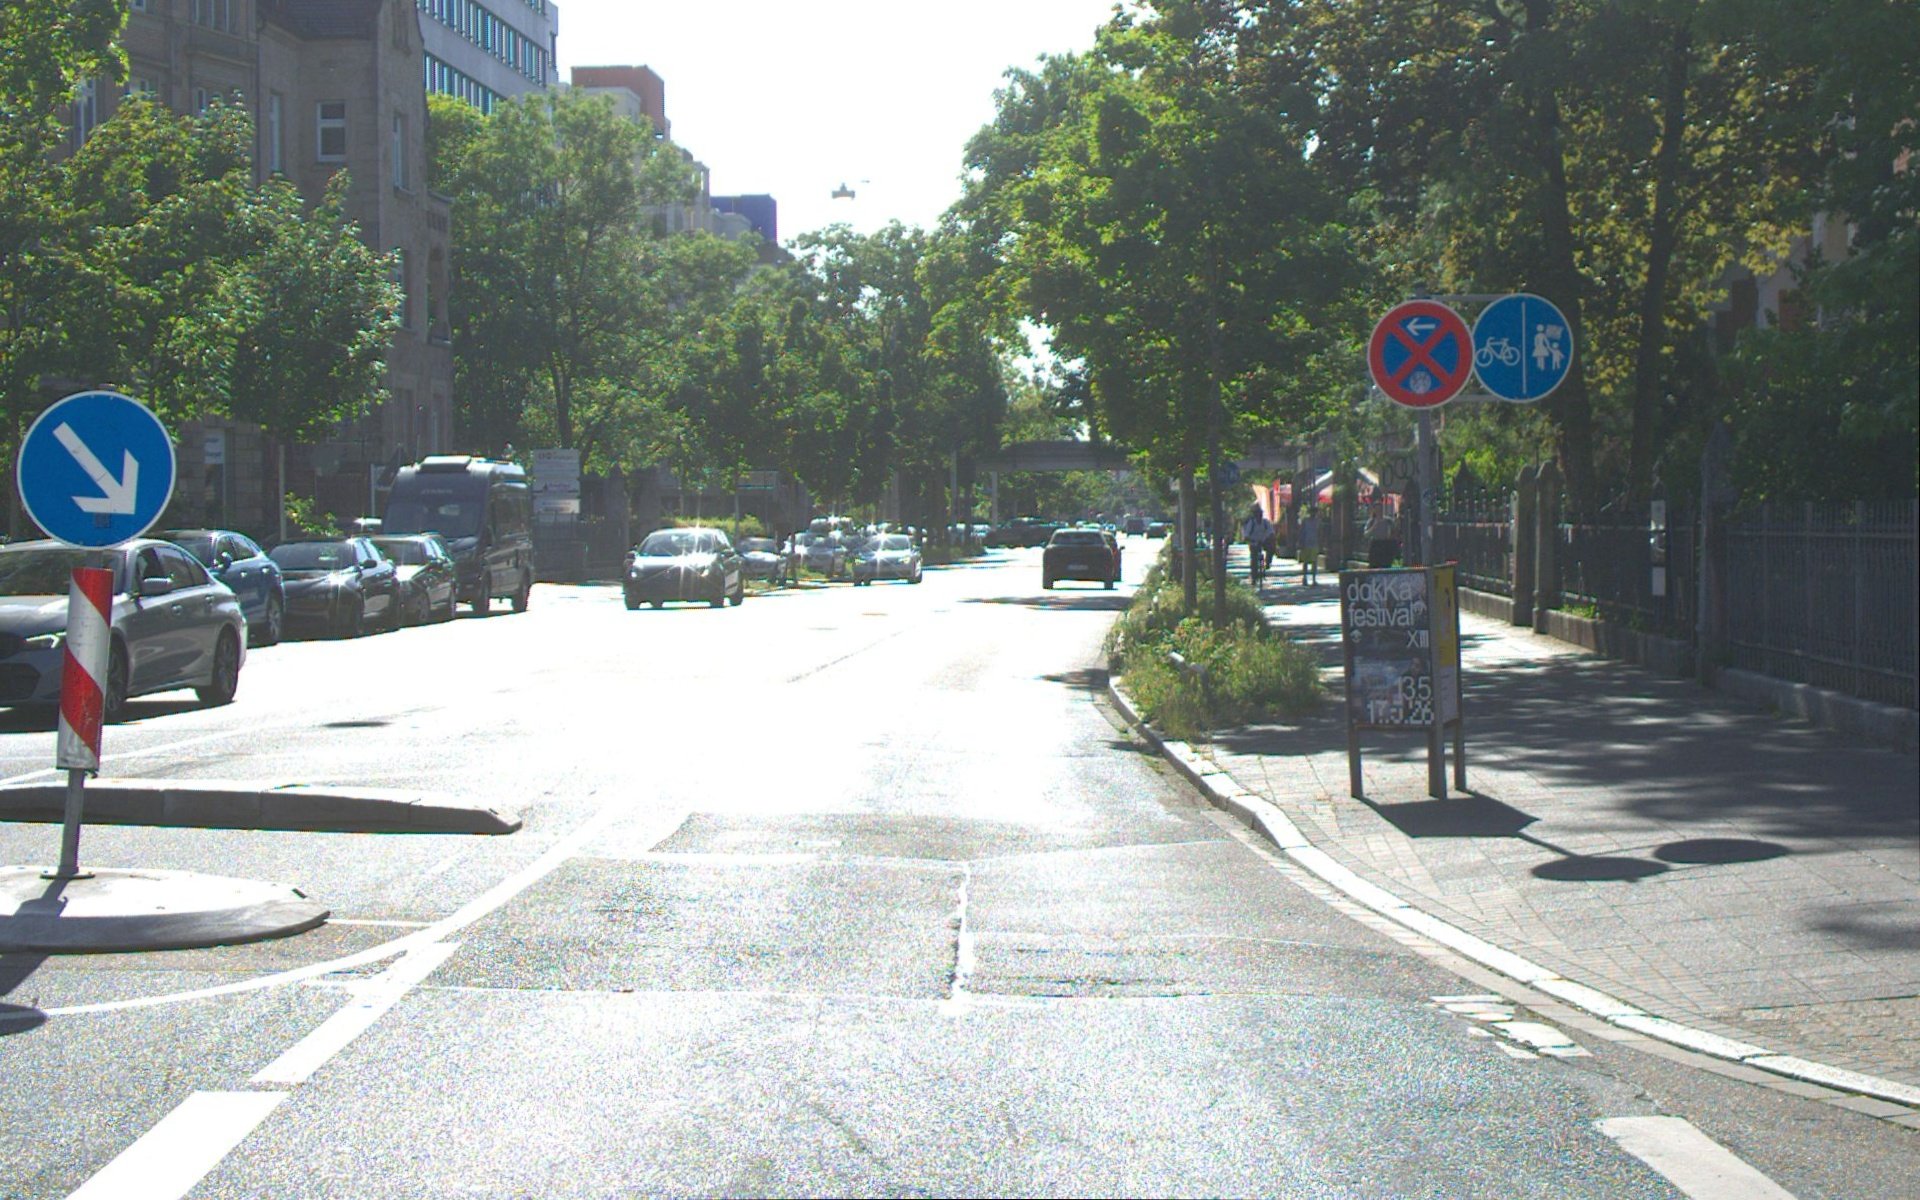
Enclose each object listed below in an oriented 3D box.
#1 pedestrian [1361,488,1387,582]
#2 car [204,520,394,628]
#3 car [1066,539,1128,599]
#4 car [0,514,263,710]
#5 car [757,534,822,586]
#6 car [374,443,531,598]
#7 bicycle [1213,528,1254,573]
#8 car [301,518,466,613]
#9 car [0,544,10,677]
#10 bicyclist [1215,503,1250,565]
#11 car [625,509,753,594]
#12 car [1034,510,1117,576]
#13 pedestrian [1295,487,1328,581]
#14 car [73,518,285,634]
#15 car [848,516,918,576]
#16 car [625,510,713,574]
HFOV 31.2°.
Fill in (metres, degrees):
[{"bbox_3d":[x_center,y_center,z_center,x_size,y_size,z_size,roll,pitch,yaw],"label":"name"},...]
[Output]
[{"bbox_3d":[8.976,-1.412,74.587,0.476,2.007,0.492,1,-2,-1],"label":"pedestrian"},{"bbox_3d":[-9.507,-0.346,49.751,1.827,1.415,3.999,1,-1,2],"label":"car"},{"bbox_3d":[4.122,-0.956,103.216,1.819,1.734,4.000,0,2,3],"label":"car"},{"bbox_3d":[-7.218,0.063,27.970,1.784,1.455,4.414,1,1,6],"label":"car"},{"bbox_3d":[-5.513,-1.277,111.543,1.935,1.514,4.030,1,-1,0],"label":"car"},{"bbox_3d":[-8.952,-1.432,61.018,1.827,2.642,5.162,0,2,2],"label":"car"},{"bbox_3d":[5.942,-1.078,74.860,0.675,0.935,2.282,0,0,-1],"label":"bicycle"},{"bbox_3d":[-9.175,-0.580,54.977,1.827,1.415,4.000,0,2,2],"label":"car"},{"bbox_3d":[-10.719,0.051,33.303,1.713,1.348,3.999,1,-1,3],"label":"car"},{"bbox_3d":[5.933,-1.442,74.919,0.680,1.323,0.636,1,-2,-1],"label":"bicyclist"},{"bbox_3d":[-4.949,-0.920,63.280,1.639,1.514,4.030,0,2,6],"label":"car"},{"bbox_3d":[2.903,-1.472,87.236,1.894,1.513,4.001,2,2,0],"label":"car"},{"bbox_3d":[7.546,-1.421,73.826,0.614,2.007,0.681,0,1,-1],"label":"pedestrian"},{"bbox_3d":[-10.058,-0.342,44.505,1.524,1.427,3.553,0,2,8],"label":"car"},{"bbox_3d":[-2.195,-1.534,98.870,1.935,1.514,4.030,1,-1,0],"label":"car"},{"bbox_3d":[-6.985,-1.423,82.782,1.802,1.499,3.808,0,2,0],"label":"car"}]
